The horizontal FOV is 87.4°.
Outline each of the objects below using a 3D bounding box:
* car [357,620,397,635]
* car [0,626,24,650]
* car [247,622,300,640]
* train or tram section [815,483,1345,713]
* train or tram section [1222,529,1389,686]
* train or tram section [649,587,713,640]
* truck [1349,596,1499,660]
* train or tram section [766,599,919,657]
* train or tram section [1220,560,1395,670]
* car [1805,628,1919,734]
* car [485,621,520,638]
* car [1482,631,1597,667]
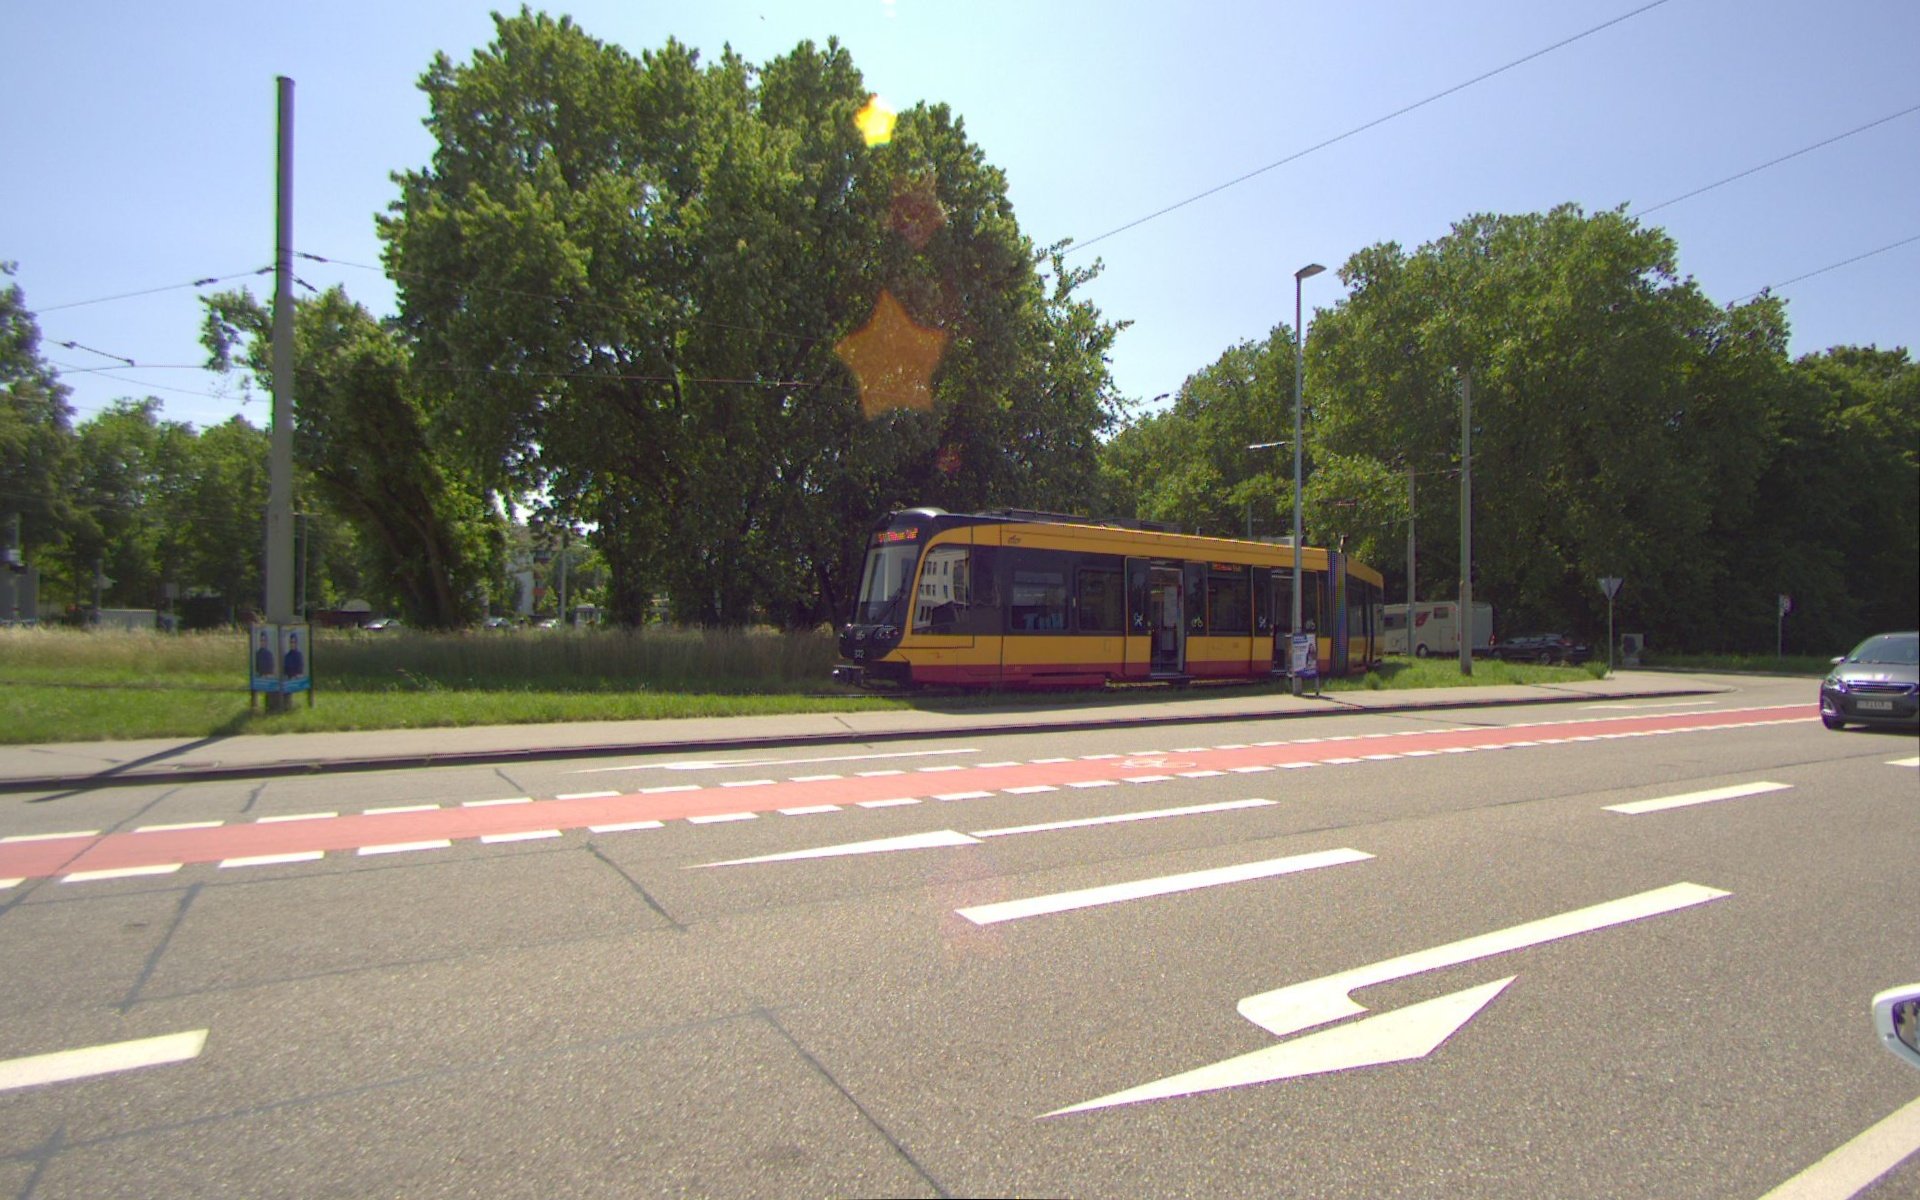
[{"bbox_3d":[-53.329,2.506,91.916,1.574,1.303,3.645,-2,-1,-1],"label":"car"},{"bbox_3d":[-54.892,2.162,56.275,1.574,1.303,3.645,-2,-1,-1],"label":"car"},{"bbox_3d":[-52.681,2.388,77.116,1.574,1.303,3.645,-2,-1,-1],"label":"car"},{"bbox_3d":[3.275,0.125,21.699,12.871,3.808,2.995,1,-3,-37],"label":"train or tram section"},{"bbox_3d":[10.752,0.399,30.174,2.971,3.808,11.602,-1,-2,28],"label":"train or tram section"},{"bbox_3d":[-24.941,1.371,89.116,2.987,4.310,12.663,1,-2,-27],"label":"train or tram section"},{"bbox_3d":[23.142,1.432,50.571,2.528,2.948,7.311,2,-2,-19],"label":"truck"},{"bbox_3d":[-8.409,2.044,70.797,11.242,3.808,3.019,-2,-2,32],"label":"train or tram section"},{"bbox_3d":[13.828,0.792,41.777,2.965,3.808,14.056,0,-2,2],"label":"train or tram section"},{"bbox_3d":[14.569,1.182,15.232,3.460,1.475,1.615,2,-3,-30],"label":"car"},{"bbox_3d":[-51.708,3.313,113.517,1.960,1.754,4.001,-2,-1,2],"label":"car"},{"bbox_3d":[25.251,2.131,43.898,1.642,1.436,4.292,2,-2,-21],"label":"car"}]
